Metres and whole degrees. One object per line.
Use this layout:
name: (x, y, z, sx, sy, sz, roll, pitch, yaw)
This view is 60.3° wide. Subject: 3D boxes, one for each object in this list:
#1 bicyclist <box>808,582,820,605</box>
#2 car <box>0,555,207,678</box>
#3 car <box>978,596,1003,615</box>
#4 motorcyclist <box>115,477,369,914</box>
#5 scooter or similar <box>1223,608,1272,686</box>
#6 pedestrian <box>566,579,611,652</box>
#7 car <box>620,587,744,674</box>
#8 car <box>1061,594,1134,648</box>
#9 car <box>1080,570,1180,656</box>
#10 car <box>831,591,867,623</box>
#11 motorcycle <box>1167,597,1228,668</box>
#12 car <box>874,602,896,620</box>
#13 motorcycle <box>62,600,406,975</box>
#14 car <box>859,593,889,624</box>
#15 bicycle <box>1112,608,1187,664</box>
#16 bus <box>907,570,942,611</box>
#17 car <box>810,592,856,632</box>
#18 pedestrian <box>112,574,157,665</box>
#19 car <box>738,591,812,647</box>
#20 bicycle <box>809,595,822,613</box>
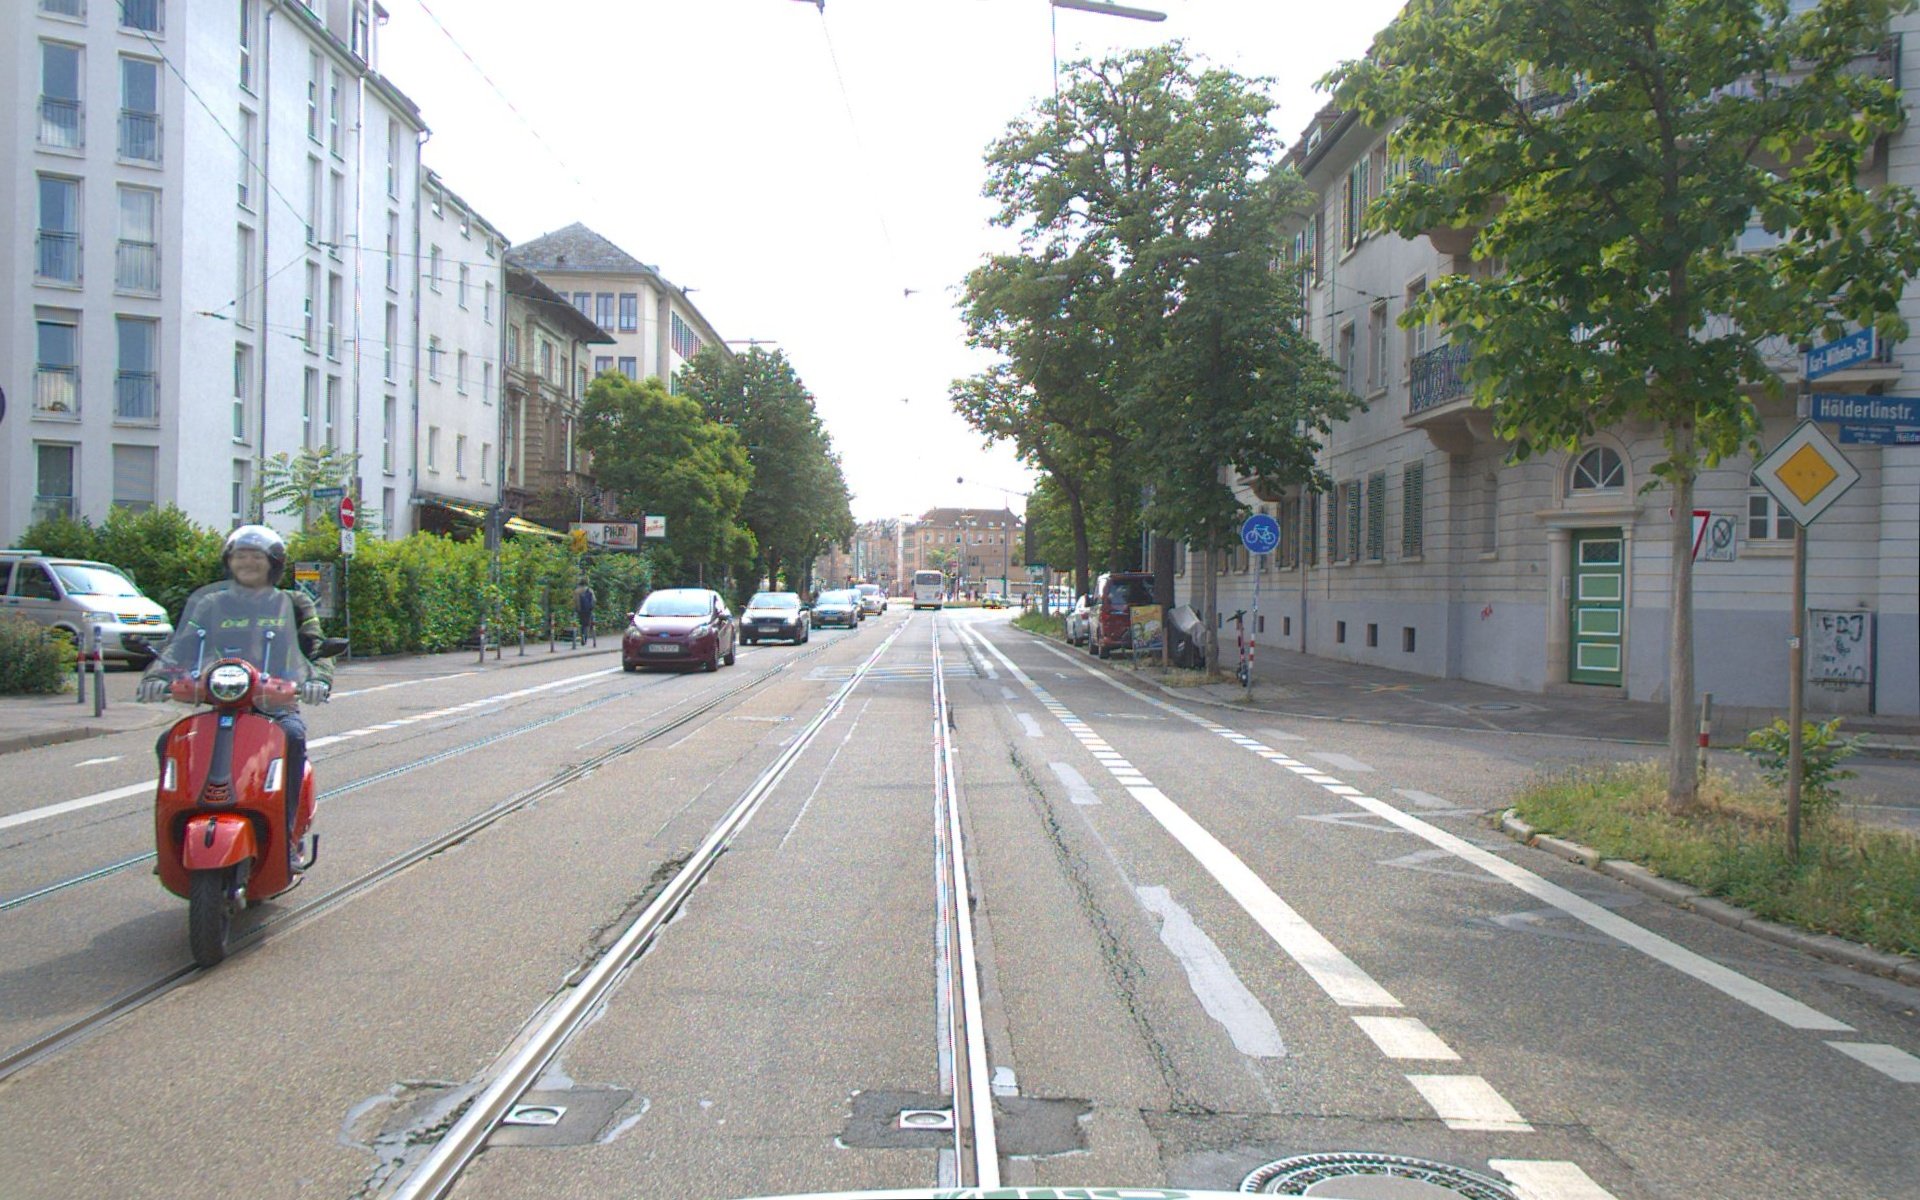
bicyclist: (-9.874, -0.428, 112.158, 0.587, 1.518, 0.882, -5, 0, 1)
car: (-16.043, 0.257, 29.387, 4.828, 2.049, 2.050, 0, 0, 21)
car: (3.047, 0.531, 163.078, 2.085, 1.713, 4.105, 2, 1, 5)
motorcyclist: (-3.040, 0.382, 7.094, 0.724, 1.744, 0.920, 1, 0, -5)
scooter or similar: (4.896, 0.783, 28.253, 0.521, 1.273, 1.720, 0, 0, 0)
pedestrian: (-10.075, 0.407, 44.862, 1.038, 1.951, 0.829, 1, 0, -2)
car: (-5.063, 0.521, 30.531, 1.561, 1.465, 3.936, -1, 0, 1)
car: (4.012, 0.577, 48.873, 1.672, 1.524, 4.788, 0, 0, -1)
car: (4.099, 0.299, 40.632, 1.857, 1.975, 4.949, 0, 0, -1)
car: (-5.752, 0.344, 85.989, 1.598, 1.584, 3.821, 0, 0, -1)
motorcycle: (4.707, 0.619, 32.979, 0.840, 1.344, 2.445, 1, 0, 0)
car: (-6.020, 0.893, 133.004, 1.654, 1.426, 3.929, 0, 0, -1)
motorcycle: (-3.055, 0.701, 7.213, 0.725, 1.384, 2.086, 1, 0, -5)
car: (-5.420, 0.510, 104.774, 1.859, 1.940, 5.381, 0, 0, -2)
bicycle: (4.204, 0.789, 36.736, 1.578, 1.224, 0.589, 1, 0, -4)
bus: (-3.202, -0.794, 147.733, 2.859, 3.386, 12.201, 1, 0, -2)
car: (-5.142, 0.484, 67.455, 1.692, 1.567, 4.275, 0, 0, -2)
pedestrian: (-15.943, 0.366, 31.949, 0.472, 1.728, 0.784, 1, 0, -1)
car: (-5.012, 0.495, 45.228, 1.595, 1.431, 4.128, 1, 0, -1)
bicycle: (-9.816, 0.271, 112.265, 0.590, 1.116, 2.023, -5, 0, 2)
